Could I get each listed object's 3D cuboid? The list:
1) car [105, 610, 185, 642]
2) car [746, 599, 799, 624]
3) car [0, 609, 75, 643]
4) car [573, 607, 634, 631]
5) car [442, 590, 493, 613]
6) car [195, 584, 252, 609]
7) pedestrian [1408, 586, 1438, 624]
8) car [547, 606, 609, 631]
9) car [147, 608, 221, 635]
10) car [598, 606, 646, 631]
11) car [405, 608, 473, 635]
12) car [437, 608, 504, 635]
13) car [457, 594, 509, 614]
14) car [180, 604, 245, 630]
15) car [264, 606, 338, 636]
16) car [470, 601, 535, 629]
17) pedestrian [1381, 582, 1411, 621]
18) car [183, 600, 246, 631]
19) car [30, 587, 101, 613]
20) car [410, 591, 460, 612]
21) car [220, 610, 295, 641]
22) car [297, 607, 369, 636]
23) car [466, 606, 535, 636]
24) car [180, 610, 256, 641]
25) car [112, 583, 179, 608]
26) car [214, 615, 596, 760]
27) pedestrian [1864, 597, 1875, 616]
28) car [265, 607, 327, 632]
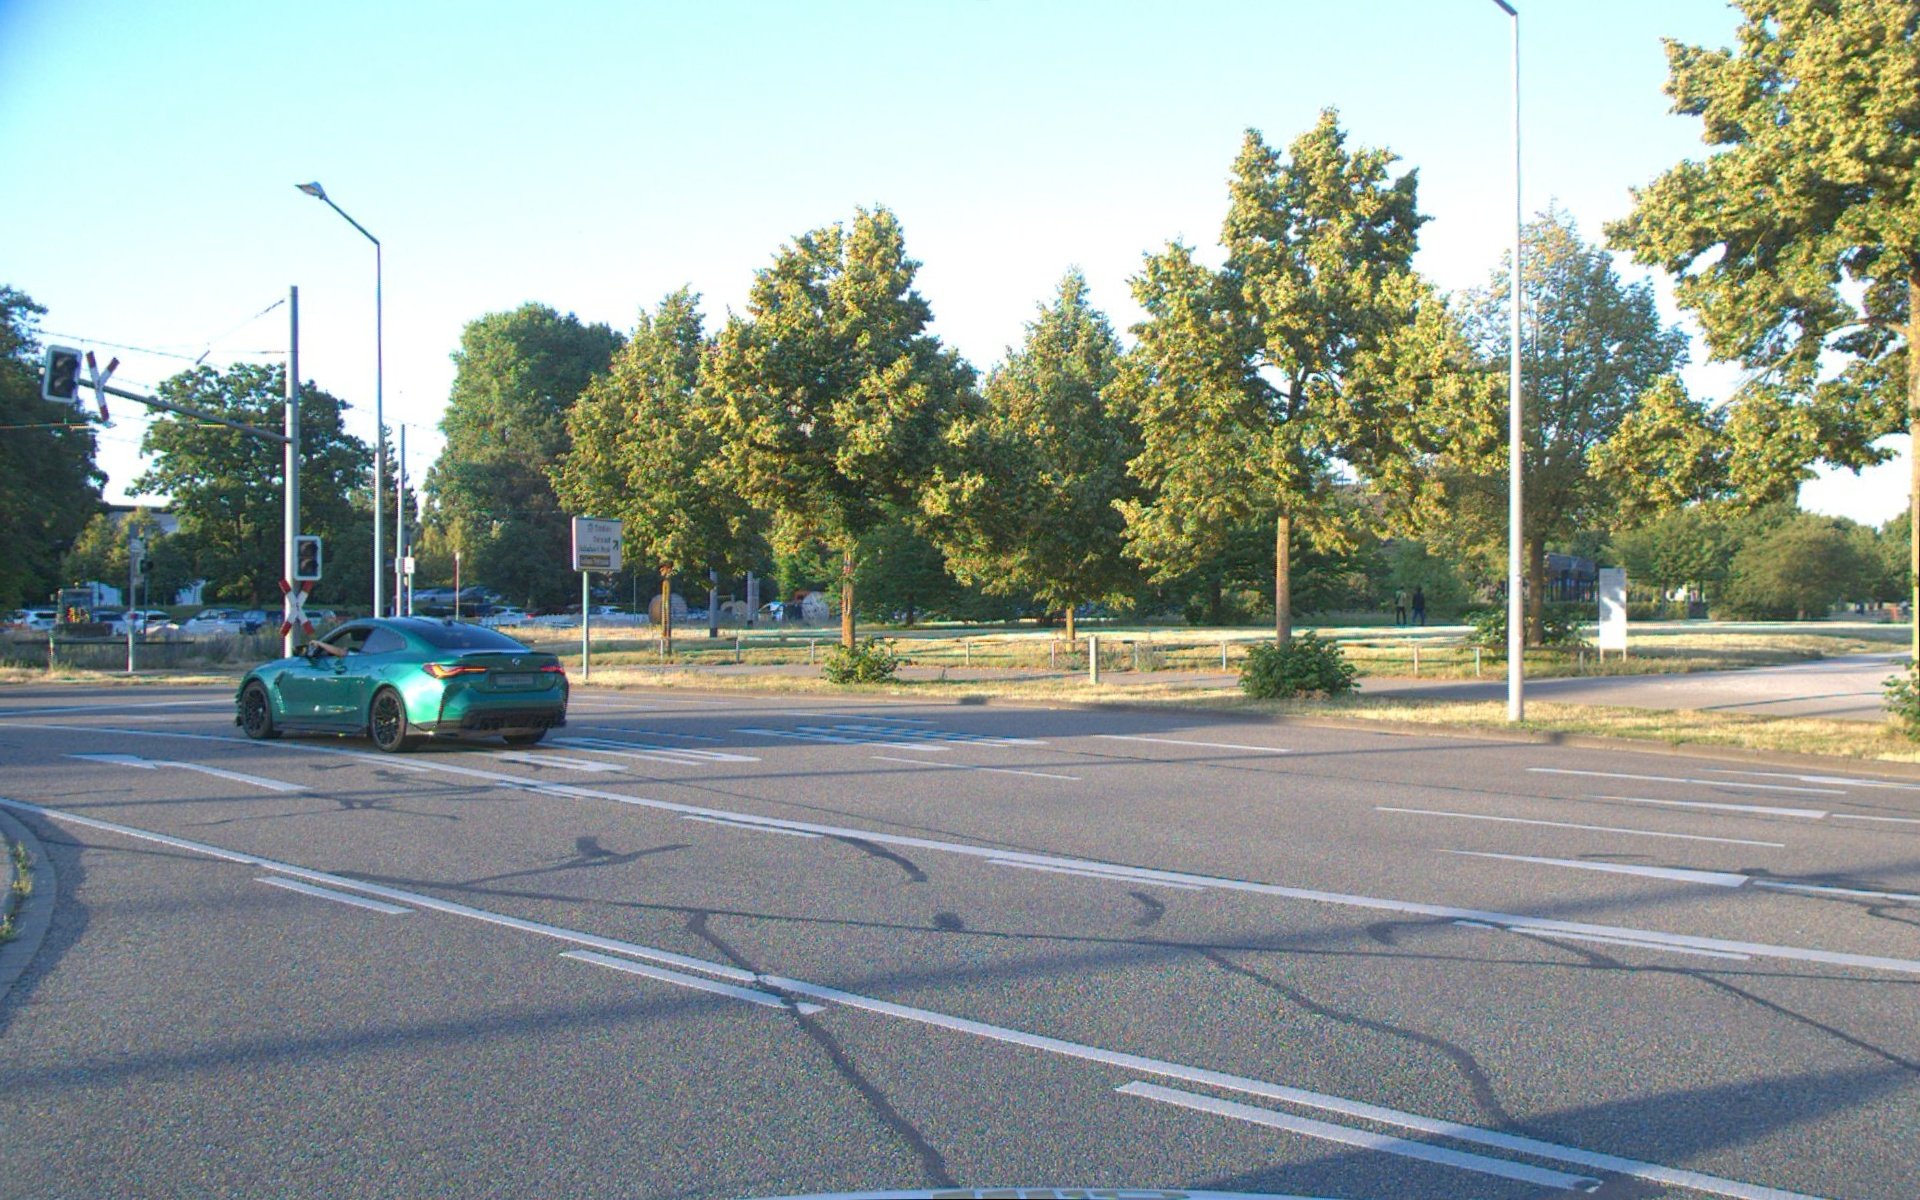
[{"bbox_3d":[-42.255,1.330,85.774,3.915,1.632,1.995,0,0,32],"label":"car"},{"bbox_3d":[-13.004,0.776,114.662,1.724,1.646,3.940,0,0,-41],"label":"car"},{"bbox_3d":[-45.625,1.253,81.422,3.915,1.632,1.995,0,0,32],"label":"car"},{"bbox_3d":[-24.902,1.339,115.413,3.915,1.632,1.995,0,0,32],"label":"car"},{"bbox_3d":[-44.092,0.133,148.224,1.963,2.049,3.979,0,0,40],"label":"car"},{"bbox_3d":[-63.378,-0.301,142.347,1.958,2.049,4.105,0,0,33],"label":"car"},{"bbox_3d":[19.924,0.210,71.215,1.047,1.646,0.911,0,0,2],"label":"pedestrian"},{"bbox_3d":[-26.271,1.253,113.663,3.915,1.632,1.995,0,0,32],"label":"car"},{"bbox_3d":[-50.231,1.388,107.071,1.863,1.691,3.987,0,0,34],"label":"car"},{"bbox_3d":[-26.366,1.411,128.868,1.979,1.782,4.538,0,1,-37],"label":"car"},{"bbox_3d":[-32.312,1.307,102.536,3.915,1.632,1.995,0,0,32],"label":"car"},{"bbox_3d":[-30.977,1.339,104.674,3.915,1.632,1.995,0,0,32],"label":"car"},{"bbox_3d":[-41.692,0.318,144.712,3.902,1.736,2.001,0,0,6],"label":"car"},{"bbox_3d":[-50.562,1.128,111.858,3.939,1.691,1.983,0,0,-27],"label":"car"},{"bbox_3d":[-37.389,1.183,93.858,3.915,1.632,1.995,0,0,32],"label":"car"},{"bbox_3d":[-34.595,1.103,125.251,4.499,2.049,1.996,0,0,-9],"label":"car"},{"bbox_3d":[18.867,0.065,71.566,1.047,1.646,0.911,0,0,2],"label":"pedestrian"},{"bbox_3d":[-52.035,1.062,115.479,3.939,2.049,1.983,0,0,-27],"label":"car"},{"bbox_3d":[-70.536,-0.001,130.451,1.956,2.049,4.590,0,0,29],"label":"car"},{"bbox_3d":[-47.954,0.137,151.051,1.959,1.847,3.987,0,0,34],"label":"car"},{"bbox_3d":[-39.089,1.411,92.032,3.915,1.632,1.995,0,0,32],"label":"car"},{"bbox_3d":[-36.445,1.208,96.076,3.915,1.632,1.995,0,0,32],"label":"car"},{"bbox_3d":[-32.526,1.458,117.143,4.499,2.049,1.996,0,0,-9],"label":"car"},{"bbox_3d":[-40.531,1.379,90.364,3.915,1.632,1.995,0,0,32],"label":"car"},{"bbox_3d":[-67.120,-0.389,136.325,1.958,2.049,4.585,0,0,33],"label":"car"},{"bbox_3d":[-6.365,0.888,18.712,4.646,1.395,1.990,0,0,40],"label":"car"},{"bbox_3d":[85.014,0.606,154.553,0.835,1.690,0.978,0,0,25],"label":"pedestrian"},{"bbox_3d":[-45.818,1.339,114.099,3.933,1.691,1.889,0,0,-23],"label":"car"}]
